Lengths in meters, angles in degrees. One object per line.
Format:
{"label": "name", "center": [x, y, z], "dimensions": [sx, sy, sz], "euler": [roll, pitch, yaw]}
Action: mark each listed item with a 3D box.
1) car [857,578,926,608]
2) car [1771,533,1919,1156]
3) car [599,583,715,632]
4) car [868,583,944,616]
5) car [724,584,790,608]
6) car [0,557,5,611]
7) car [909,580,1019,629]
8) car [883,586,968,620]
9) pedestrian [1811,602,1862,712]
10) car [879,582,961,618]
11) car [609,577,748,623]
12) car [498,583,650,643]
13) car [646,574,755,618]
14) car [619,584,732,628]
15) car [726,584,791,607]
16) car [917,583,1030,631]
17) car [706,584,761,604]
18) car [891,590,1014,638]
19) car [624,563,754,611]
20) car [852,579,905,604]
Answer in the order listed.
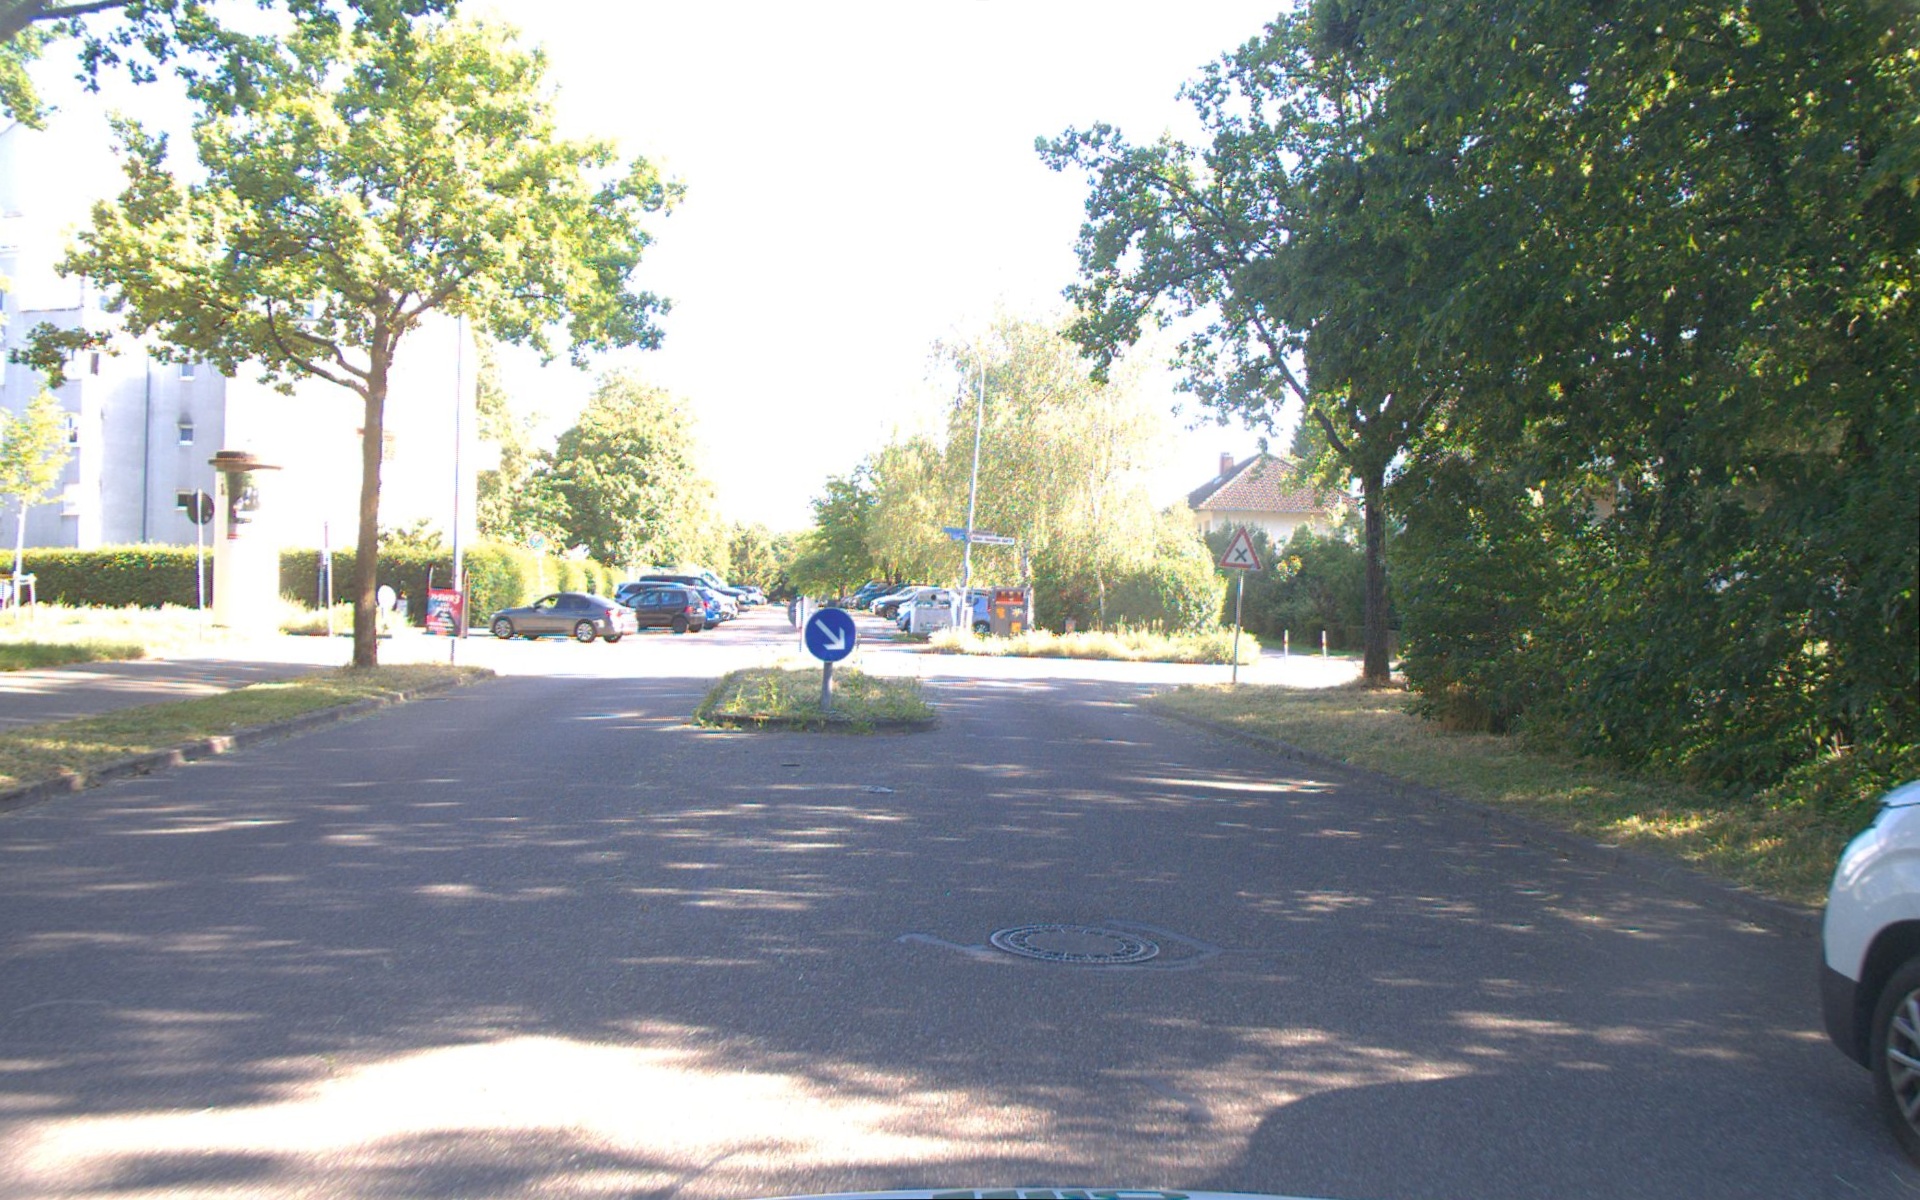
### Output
{"label": "car", "center": [-3.946, -0.387, 95.466], "dimensions": [3.907, 1.613, 1.797], "euler": [2, 0, -2]}
{"label": "car", "center": [3.815, 0.725, 3.235], "dimensions": [1.716, 1.779, 4.626], "euler": [2, 0, -7]}
{"label": "car", "center": [-10.237, 0.228, 55.922], "dimensions": [3.447, 1.491, 1.706], "euler": [2, 2, 12]}
{"label": "car", "center": [-2.848, -0.018, 87.075], "dimensions": [3.907, 1.613, 1.797], "euler": [2, 0, -2]}
{"label": "car", "center": [-12.236, -0.274, 99.923], "dimensions": [3.864, 1.357, 1.845], "euler": [1, 0, -6]}
{"label": "car", "center": [-36.877, -0.617, 59.134], "dimensions": [4.834, 1.946, 2.001], "euler": [1, 0, 18]}
{"label": "car", "center": [0.132, 0.184, 65.368], "dimensions": [4.031, 1.735, 1.786], "euler": [2, 1, -12]}
{"label": "car", "center": [-1.619, 0.149, 78.061], "dimensions": [3.907, 1.425, 1.797], "euler": [2, 0, -2]}
{"label": "pedestrian", "center": [12.826, 0.824, 24.207], "dimensions": [0.390, 1.588, 0.534], "euler": [1, -1, -26]}
{"label": "car", "center": [-1.950, -0.013, 80.916], "dimensions": [3.907, 1.613, 1.797], "euler": [2, 0, -2]}
{"label": "car", "center": [-10.595, -0.006, 62.473], "dimensions": [4.889, 1.683, 1.784], "euler": [0, 1, 0]}
{"label": "car", "center": [-11.510, 0.382, 49.367], "dimensions": [3.977, 1.672, 1.884], "euler": [1, 0, 17]}
{"label": "car", "center": [-11.283, -0.196, 72.056], "dimensions": [4.430, 1.802, 1.847], "euler": [1, 0, 0]}
{"label": "car", "center": [-10.068, 0.200, 58.566], "dimensions": [3.601, 1.522, 1.652], "euler": [1, 1, 8]}
{"label": "car", "center": [-12.453, -0.296, 102.395], "dimensions": [3.864, 1.357, 1.845], "euler": [1, 0, -6]}
{"label": "car", "center": [0.500, 0.267, 62.469], "dimensions": [3.980, 1.631, 1.787], "euler": [2, 1, -11]}
{"label": "car", "center": [-16.376, -0.445, 119.937], "dimensions": [3.864, 1.357, 1.845], "euler": [1, 0, -6]}
{"label": "car", "center": [-0.233, 0.468, 56.899], "dimensions": [3.966, 1.464, 1.636], "euler": [2, 0, 8]}
{"label": "car", "center": [-13.233, -0.651, 81.169], "dimensions": [6.138, 2.184, 2.407], "euler": [1, 0, -7]}
{"label": "car", "center": [-6.088, -0.631, 123.920], "dimensions": [3.907, 1.738, 1.797], "euler": [2, 0, -2]}
